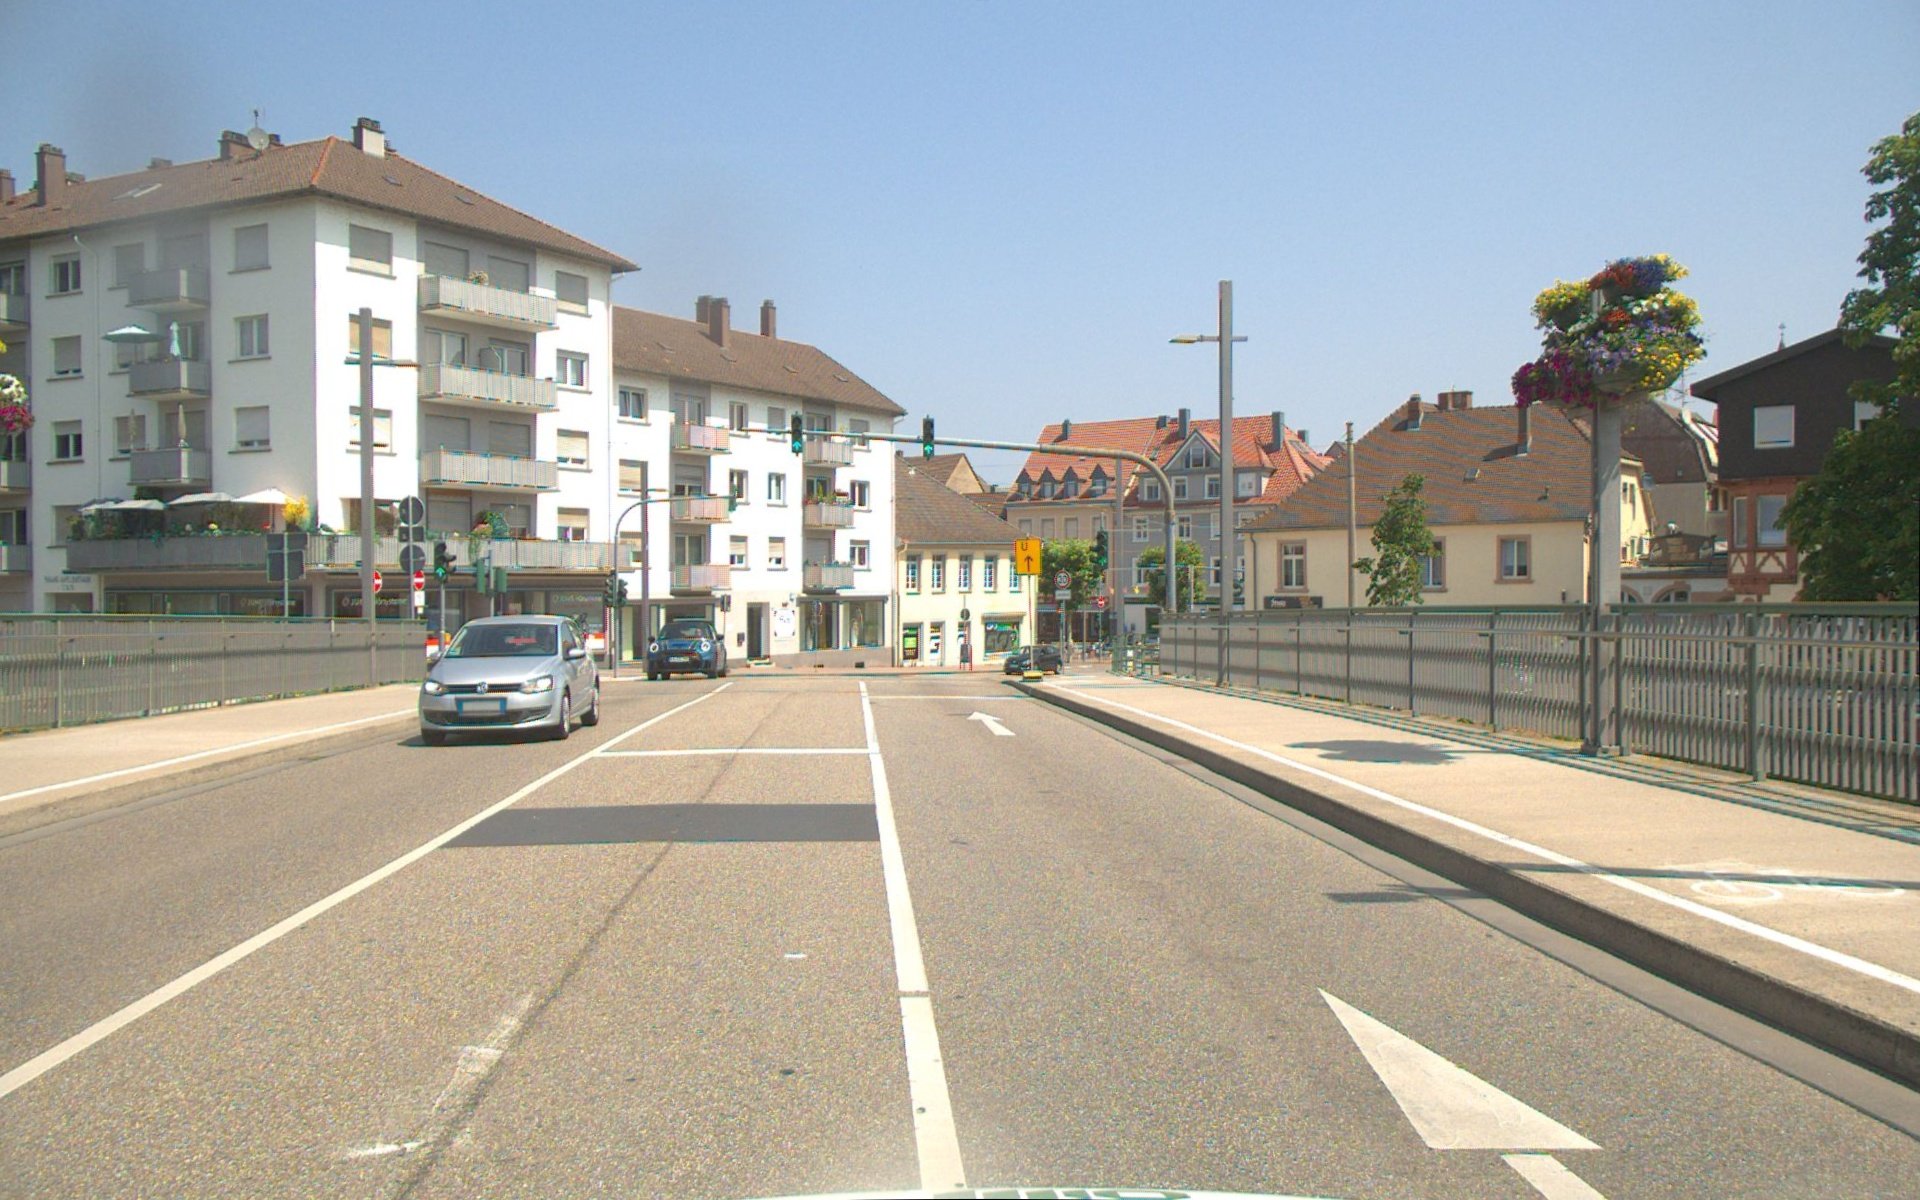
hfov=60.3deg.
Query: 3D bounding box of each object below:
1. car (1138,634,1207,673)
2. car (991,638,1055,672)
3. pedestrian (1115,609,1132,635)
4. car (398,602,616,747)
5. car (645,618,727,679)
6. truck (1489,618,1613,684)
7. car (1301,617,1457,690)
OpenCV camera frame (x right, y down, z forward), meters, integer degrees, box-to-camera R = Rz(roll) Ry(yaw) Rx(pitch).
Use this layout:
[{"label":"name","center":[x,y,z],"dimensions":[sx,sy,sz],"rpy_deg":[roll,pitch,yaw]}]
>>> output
[{"label":"car","center":[10.503,2.609,81.552],"dimensions":[1.952,1.641,4.336],"rpy_deg":[0,1,29]},{"label":"car","center":[3.119,2.679,81.070],"dimensions":[1.643,1.514,3.952],"rpy_deg":[-3,-1,25]},{"label":"pedestrian","center":[13.067,1.767,132.442],"dimensions":[1.012,2.015,1.018],"rpy_deg":[1,0,32]},{"label":"car","center":[-5.453,0.829,20.395],"dimensions":[1.725,1.545,3.998],"rpy_deg":[-1,0,-3]},{"label":"car","center":[-6.797,1.187,41.312],"dimensions":[1.624,1.466,3.752],"rpy_deg":[0,-1,-4]},{"label":"truck","center":[21.594,1.839,60.469],"dimensions":[3.982,2.254,1.809],"rpy_deg":[1,0,31]},{"label":"car","center":[16.214,2.031,64.070],"dimensions":[5.511,2.674,2.237],"rpy_deg":[0,0,31]}]
